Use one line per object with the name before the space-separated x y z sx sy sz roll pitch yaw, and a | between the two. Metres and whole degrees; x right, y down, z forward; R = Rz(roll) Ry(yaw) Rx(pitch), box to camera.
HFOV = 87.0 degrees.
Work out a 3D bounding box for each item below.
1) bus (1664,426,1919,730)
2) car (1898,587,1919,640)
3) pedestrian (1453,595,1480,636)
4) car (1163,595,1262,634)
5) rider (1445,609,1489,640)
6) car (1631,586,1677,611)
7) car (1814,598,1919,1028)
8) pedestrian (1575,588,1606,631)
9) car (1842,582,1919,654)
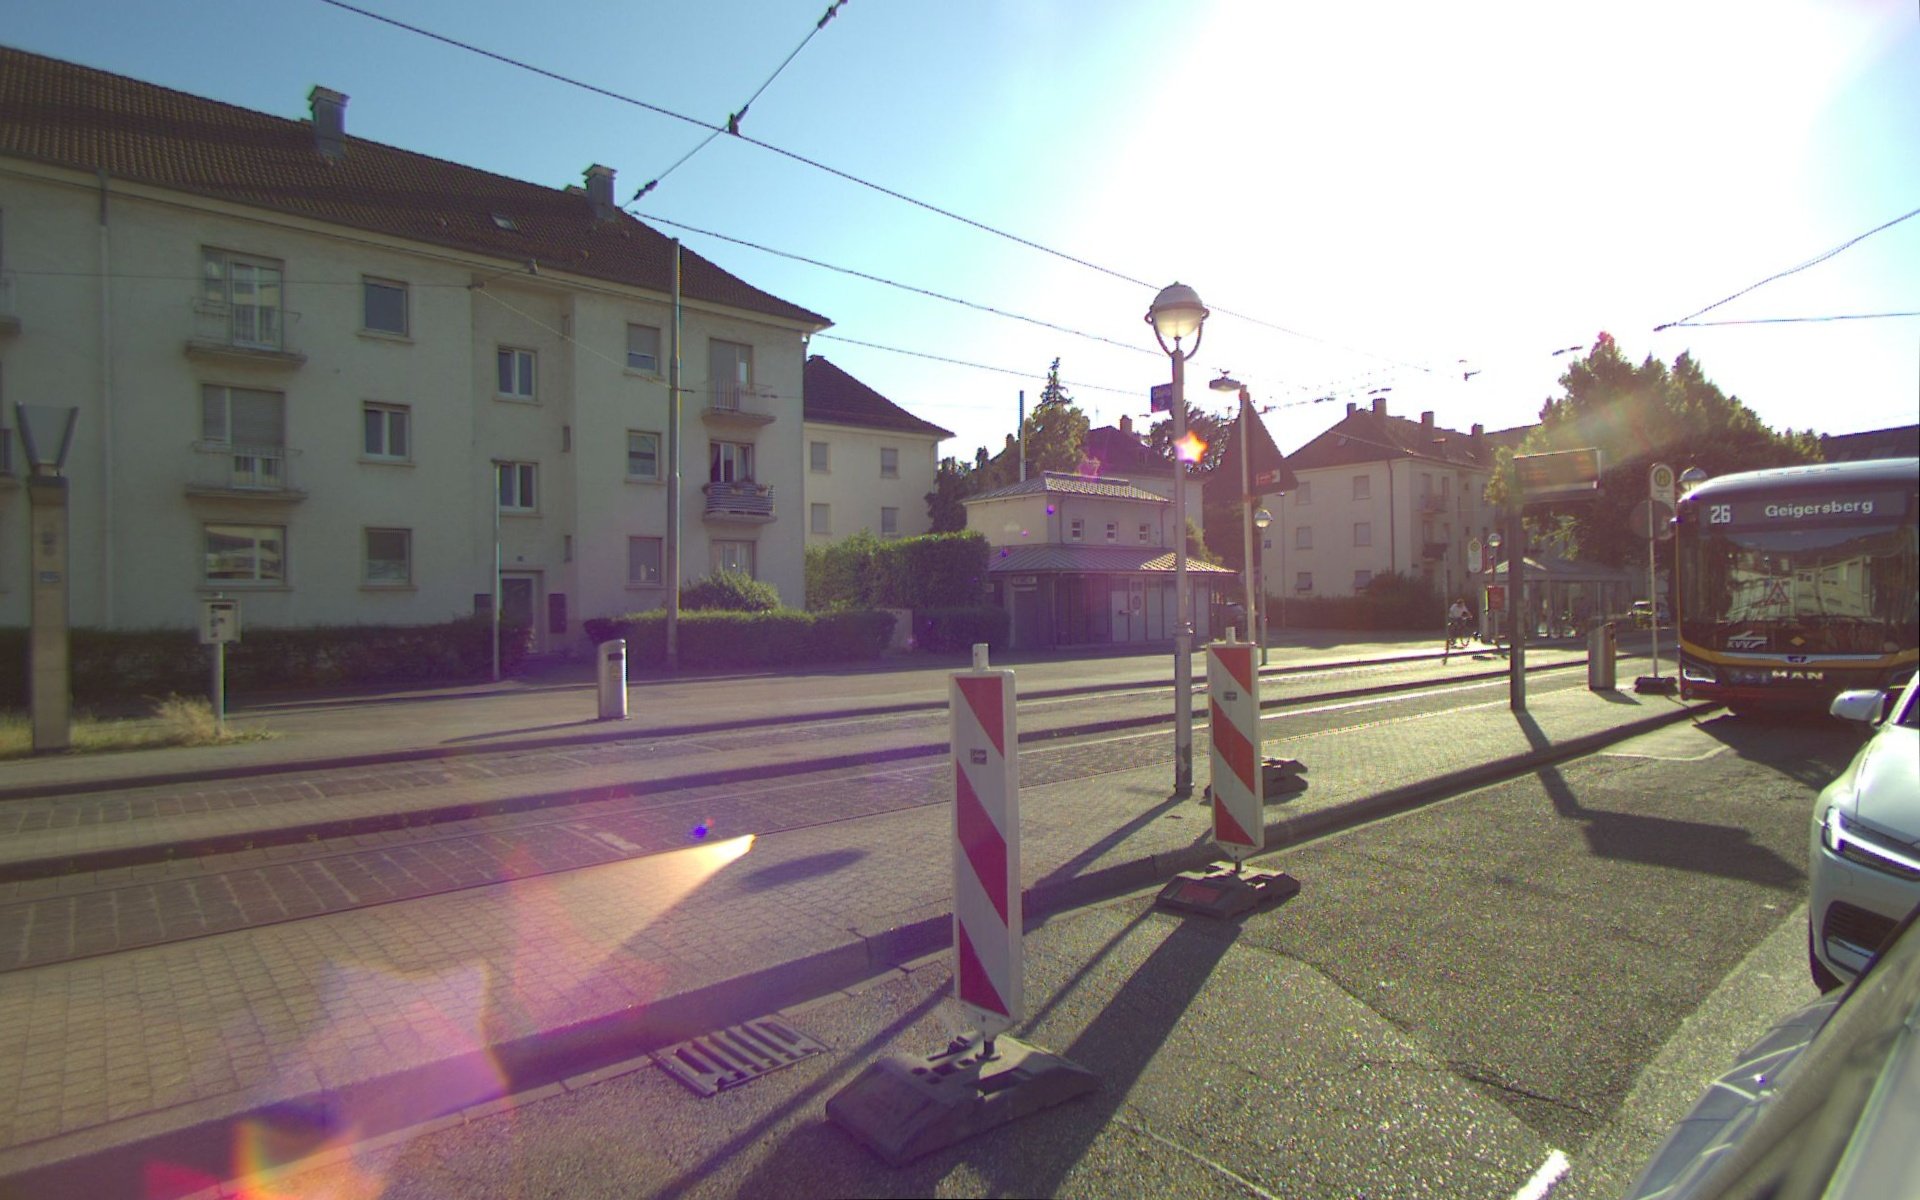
bus | 14.318 -0.263 15.849 11.824 3.345 2.745 0 0 -42
car | 28.786 0.369 29.232 4.740 1.477 1.968 0 0 -41
pedestrian | 17.508 0.514 34.980 0.569 1.398 0.658 0 0 0
car | 11.587 0.682 46.671 1.964 1.694 4.050 -1 -1 -39
rider | 17.512 0.836 34.990 0.569 1.004 1.857 0 0 0
car | 53.782 -0.112 78.437 3.930 1.887 1.997 -1 0 -41
car | 5.273 0.733 4.362 4.143 1.472 1.819 0 0 -41
pedestrian | 23.988 0.345 38.493 0.832 1.631 0.819 0 0 21
car | 21.226 0.360 22.367 4.740 1.477 1.968 0 0 -41
